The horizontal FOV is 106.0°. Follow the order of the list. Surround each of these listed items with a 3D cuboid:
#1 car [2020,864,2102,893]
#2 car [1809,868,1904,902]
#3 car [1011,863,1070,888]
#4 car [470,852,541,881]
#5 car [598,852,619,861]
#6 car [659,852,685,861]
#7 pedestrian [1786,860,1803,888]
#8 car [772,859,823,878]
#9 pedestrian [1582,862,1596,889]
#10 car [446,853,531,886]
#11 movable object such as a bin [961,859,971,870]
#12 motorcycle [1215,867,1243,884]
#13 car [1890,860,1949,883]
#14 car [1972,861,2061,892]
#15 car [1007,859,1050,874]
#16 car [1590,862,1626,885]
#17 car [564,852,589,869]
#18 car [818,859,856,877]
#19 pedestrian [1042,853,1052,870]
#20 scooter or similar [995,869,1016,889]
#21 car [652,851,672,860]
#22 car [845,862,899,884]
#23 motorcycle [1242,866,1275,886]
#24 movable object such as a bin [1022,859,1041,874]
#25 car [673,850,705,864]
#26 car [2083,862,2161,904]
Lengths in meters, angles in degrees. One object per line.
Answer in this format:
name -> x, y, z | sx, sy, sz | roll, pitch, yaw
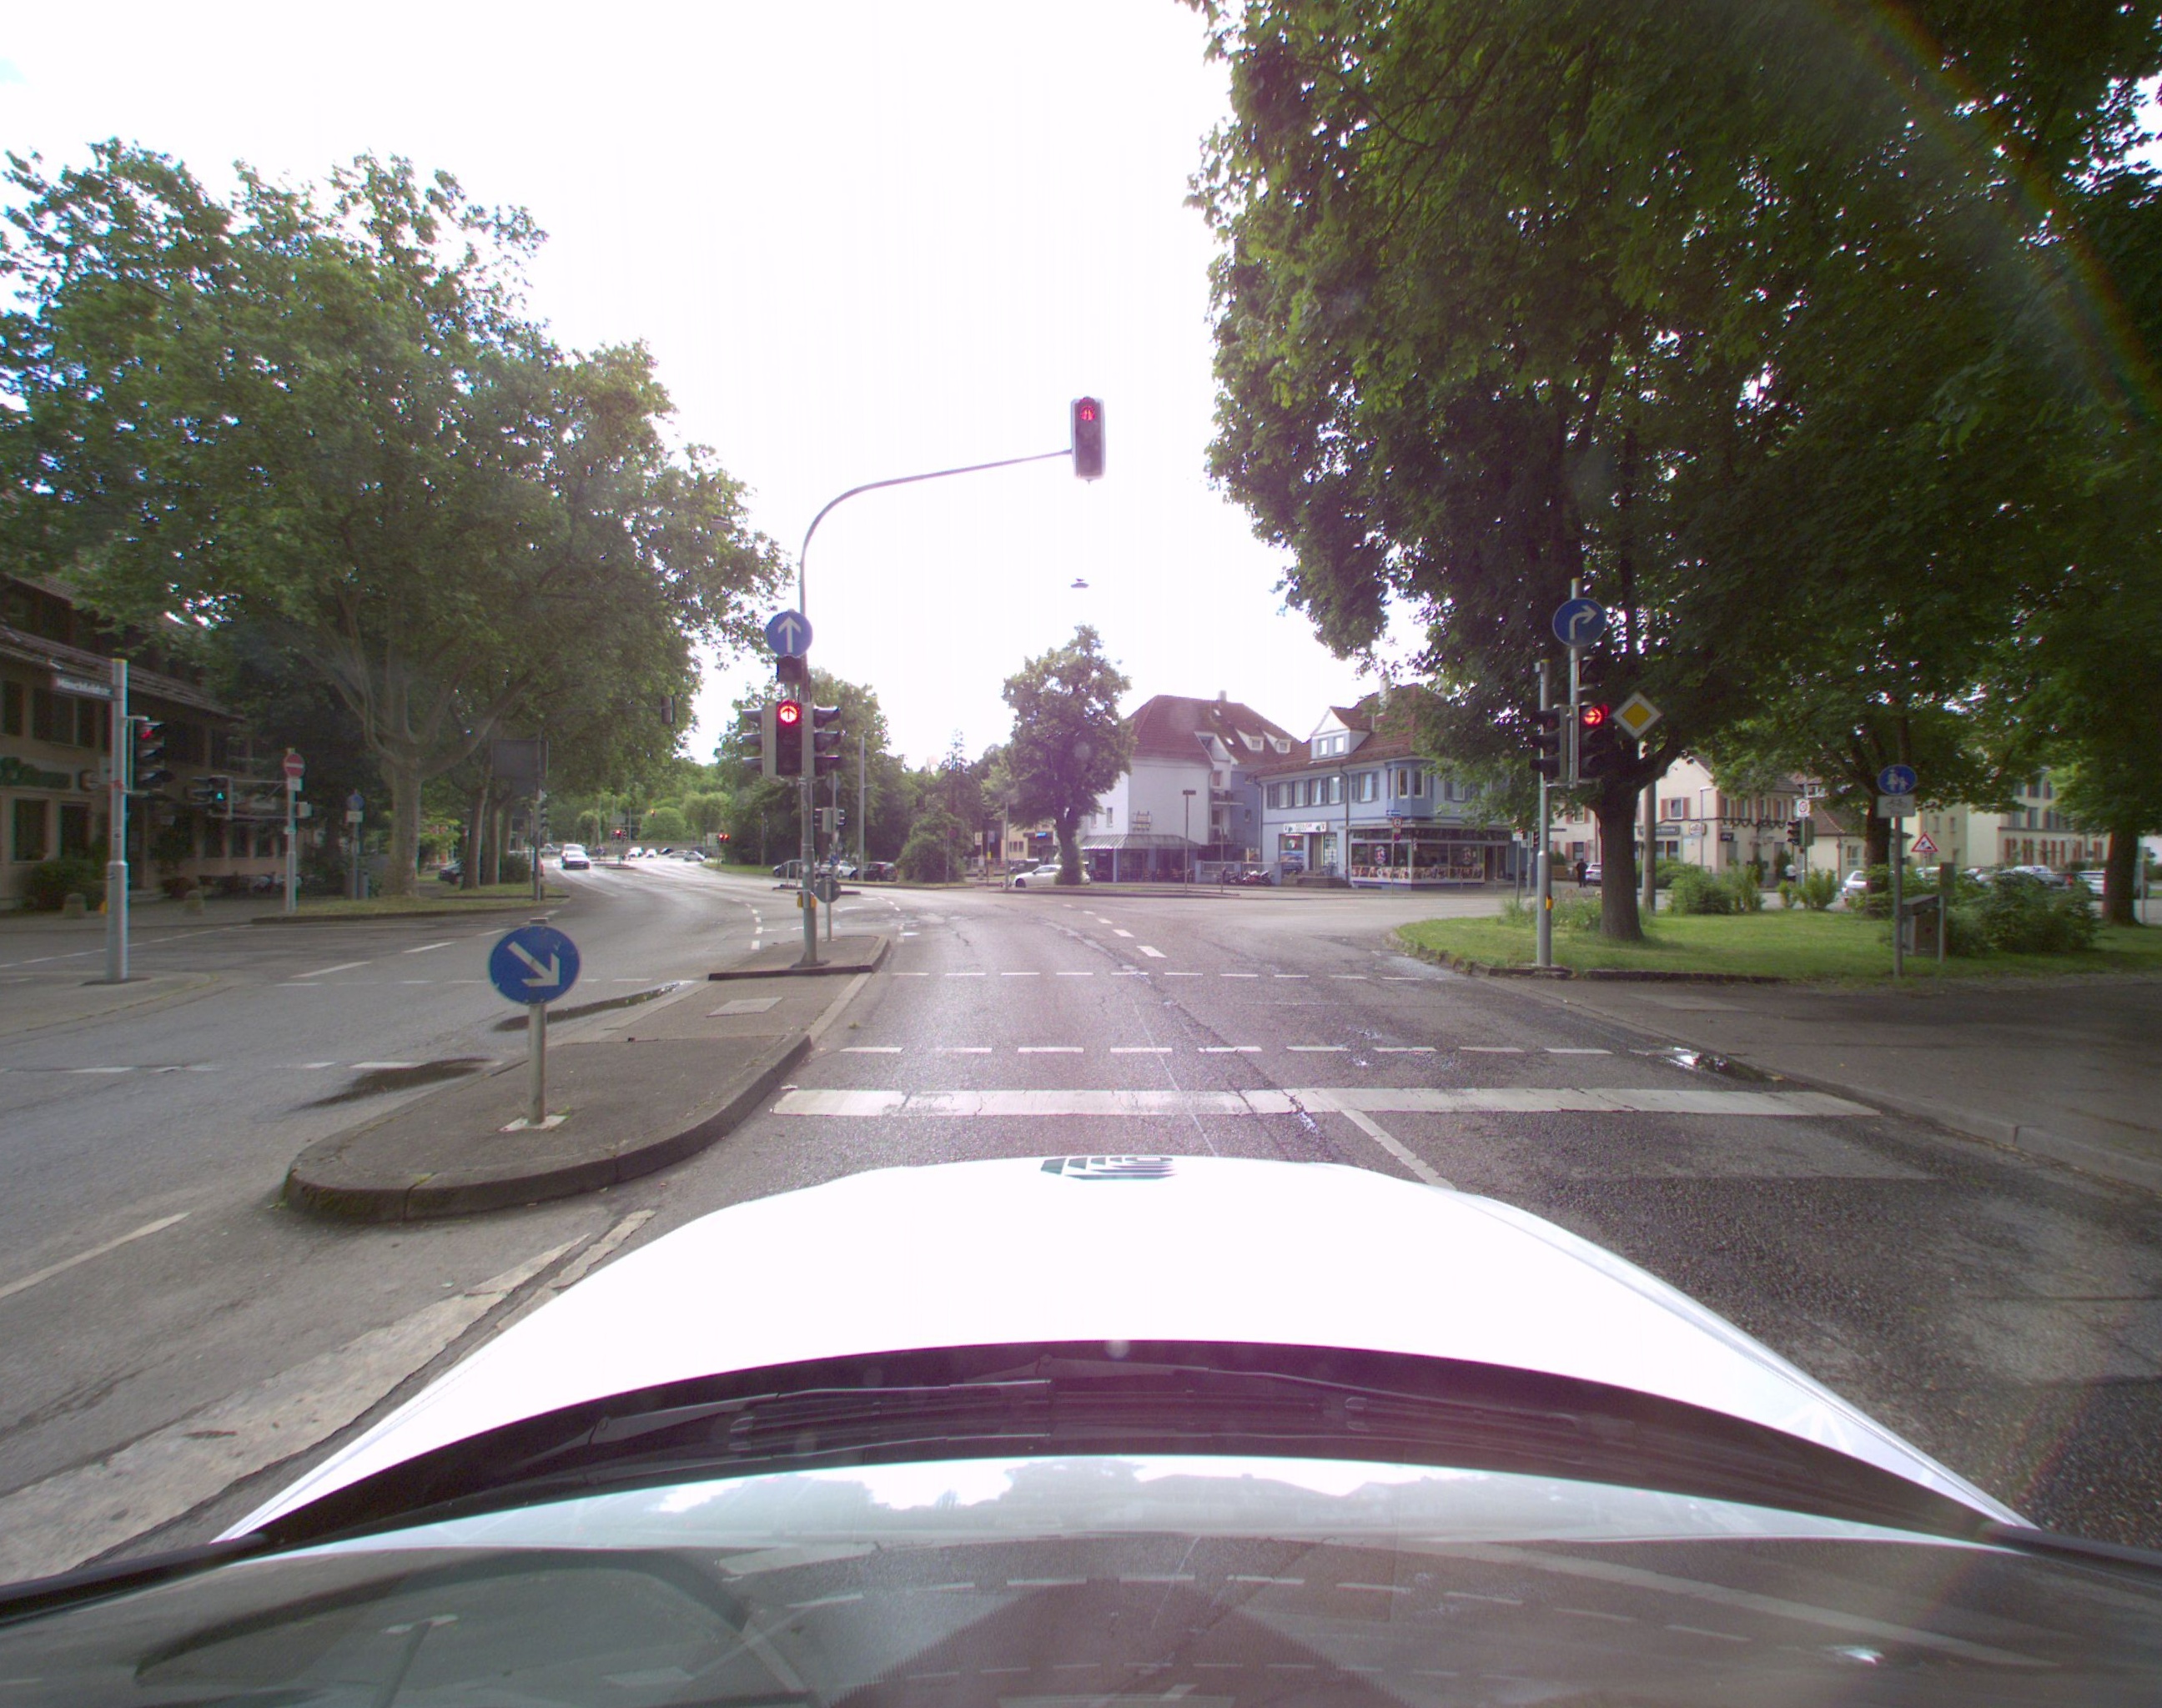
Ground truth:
car -> 47.003, 1.163, 39.062 | 3.511, 1.321, 1.549 | 0, 0, -22
car -> 31.963, 1.250, 33.571 | 3.511, 1.321, 1.549 | 0, 0, -22
car -> -2.308, 1.202, 46.242 | 3.134, 1.354, 1.448 | 0, -1, 36
car -> -35.484, 0.759, 50.286 | 3.461, 1.742, 1.557 | 0, -1, -31
car -> -106.179, 0.490, 183.029 | 4.011, 2.014, 1.981 | 0, -1, -29
car -> -74.418, 0.406, 148.156 | 4.003, 1.551, 1.855 | 0, 0, -23
pedestrian -> 42.707, 1.177, 48.749 | 0.611, 1.649, 0.606 | 0, -1, -27
car -> -22.439, 1.114, 64.487 | 3.520, 1.464, 1.591 | 0, 0, 14
pedestrian -> 29.172, 1.213, 46.745 | 0.462, 1.517, 0.580 | 0, -1, -44
car -> -31.002, 0.786, 42.720 | 3.461, 1.641, 1.557 | 0, -1, -31
movable object such as a bin -> -12.222, 1.117, 86.642 | 0.953, 1.115, 0.381 | 0, -1, -19
motorcycle -> 9.113, 1.312, 50.081 | 0.699, 1.064, 1.617 | 0, -1, -44
car -> 55.115, 1.122, 53.533 | 4.007, 1.420, 1.544 | 0, 0, -26
car -> 42.216, 0.973, 36.755 | 3.510, 1.321, 1.549 | 0, 0, -21
car -> -4.882, 1.133, 76.159 | 3.752, 1.345, 1.422 | 0, 0, -25
car -> 32.602, 1.181, 50.344 | 1.481, 1.369, 3.198 | -1, -1, 40
car -> -43.158, 0.594, 69.659 | 1.440, 1.416, 2.838 | 0, -1, -39
car -> -20.080, 1.130, 67.190 | 1.534, 1.464, 3.407 | 0, 0, 13
pedestrian -> -3.210, 0.702, 77.443 | 0.681, 1.545, 0.701 | 0, -1, -32
scooter or similar -> -3.978, 1.290, 42.885 | 0.413, 1.011, 1.575 | -1, -1, 22
car -> -95.499, 0.431, 185.605 | 4.011, 2.014, 1.981 | 0, -1, -29
car -> -13.907, 1.267, 54.208 | 3.549, 1.394, 1.481 | 0, -1, 34
motorcycle -> 10.535, 1.286, 48.266 | 1.777, 1.121, 0.699 | 0, -1, 40
movable object such as a bin -> -4.524, 1.131, 74.252 | 1.447, 1.409, 0.959 | 0, -1, -25
car -> -59.478, 0.437, 123.617 | 3.993, 2.014, 1.855 | 0, -1, -14
car -> 52.831, 1.431, 41.129 | 4.004, 2.014, 1.770 | 0, -1, -23
